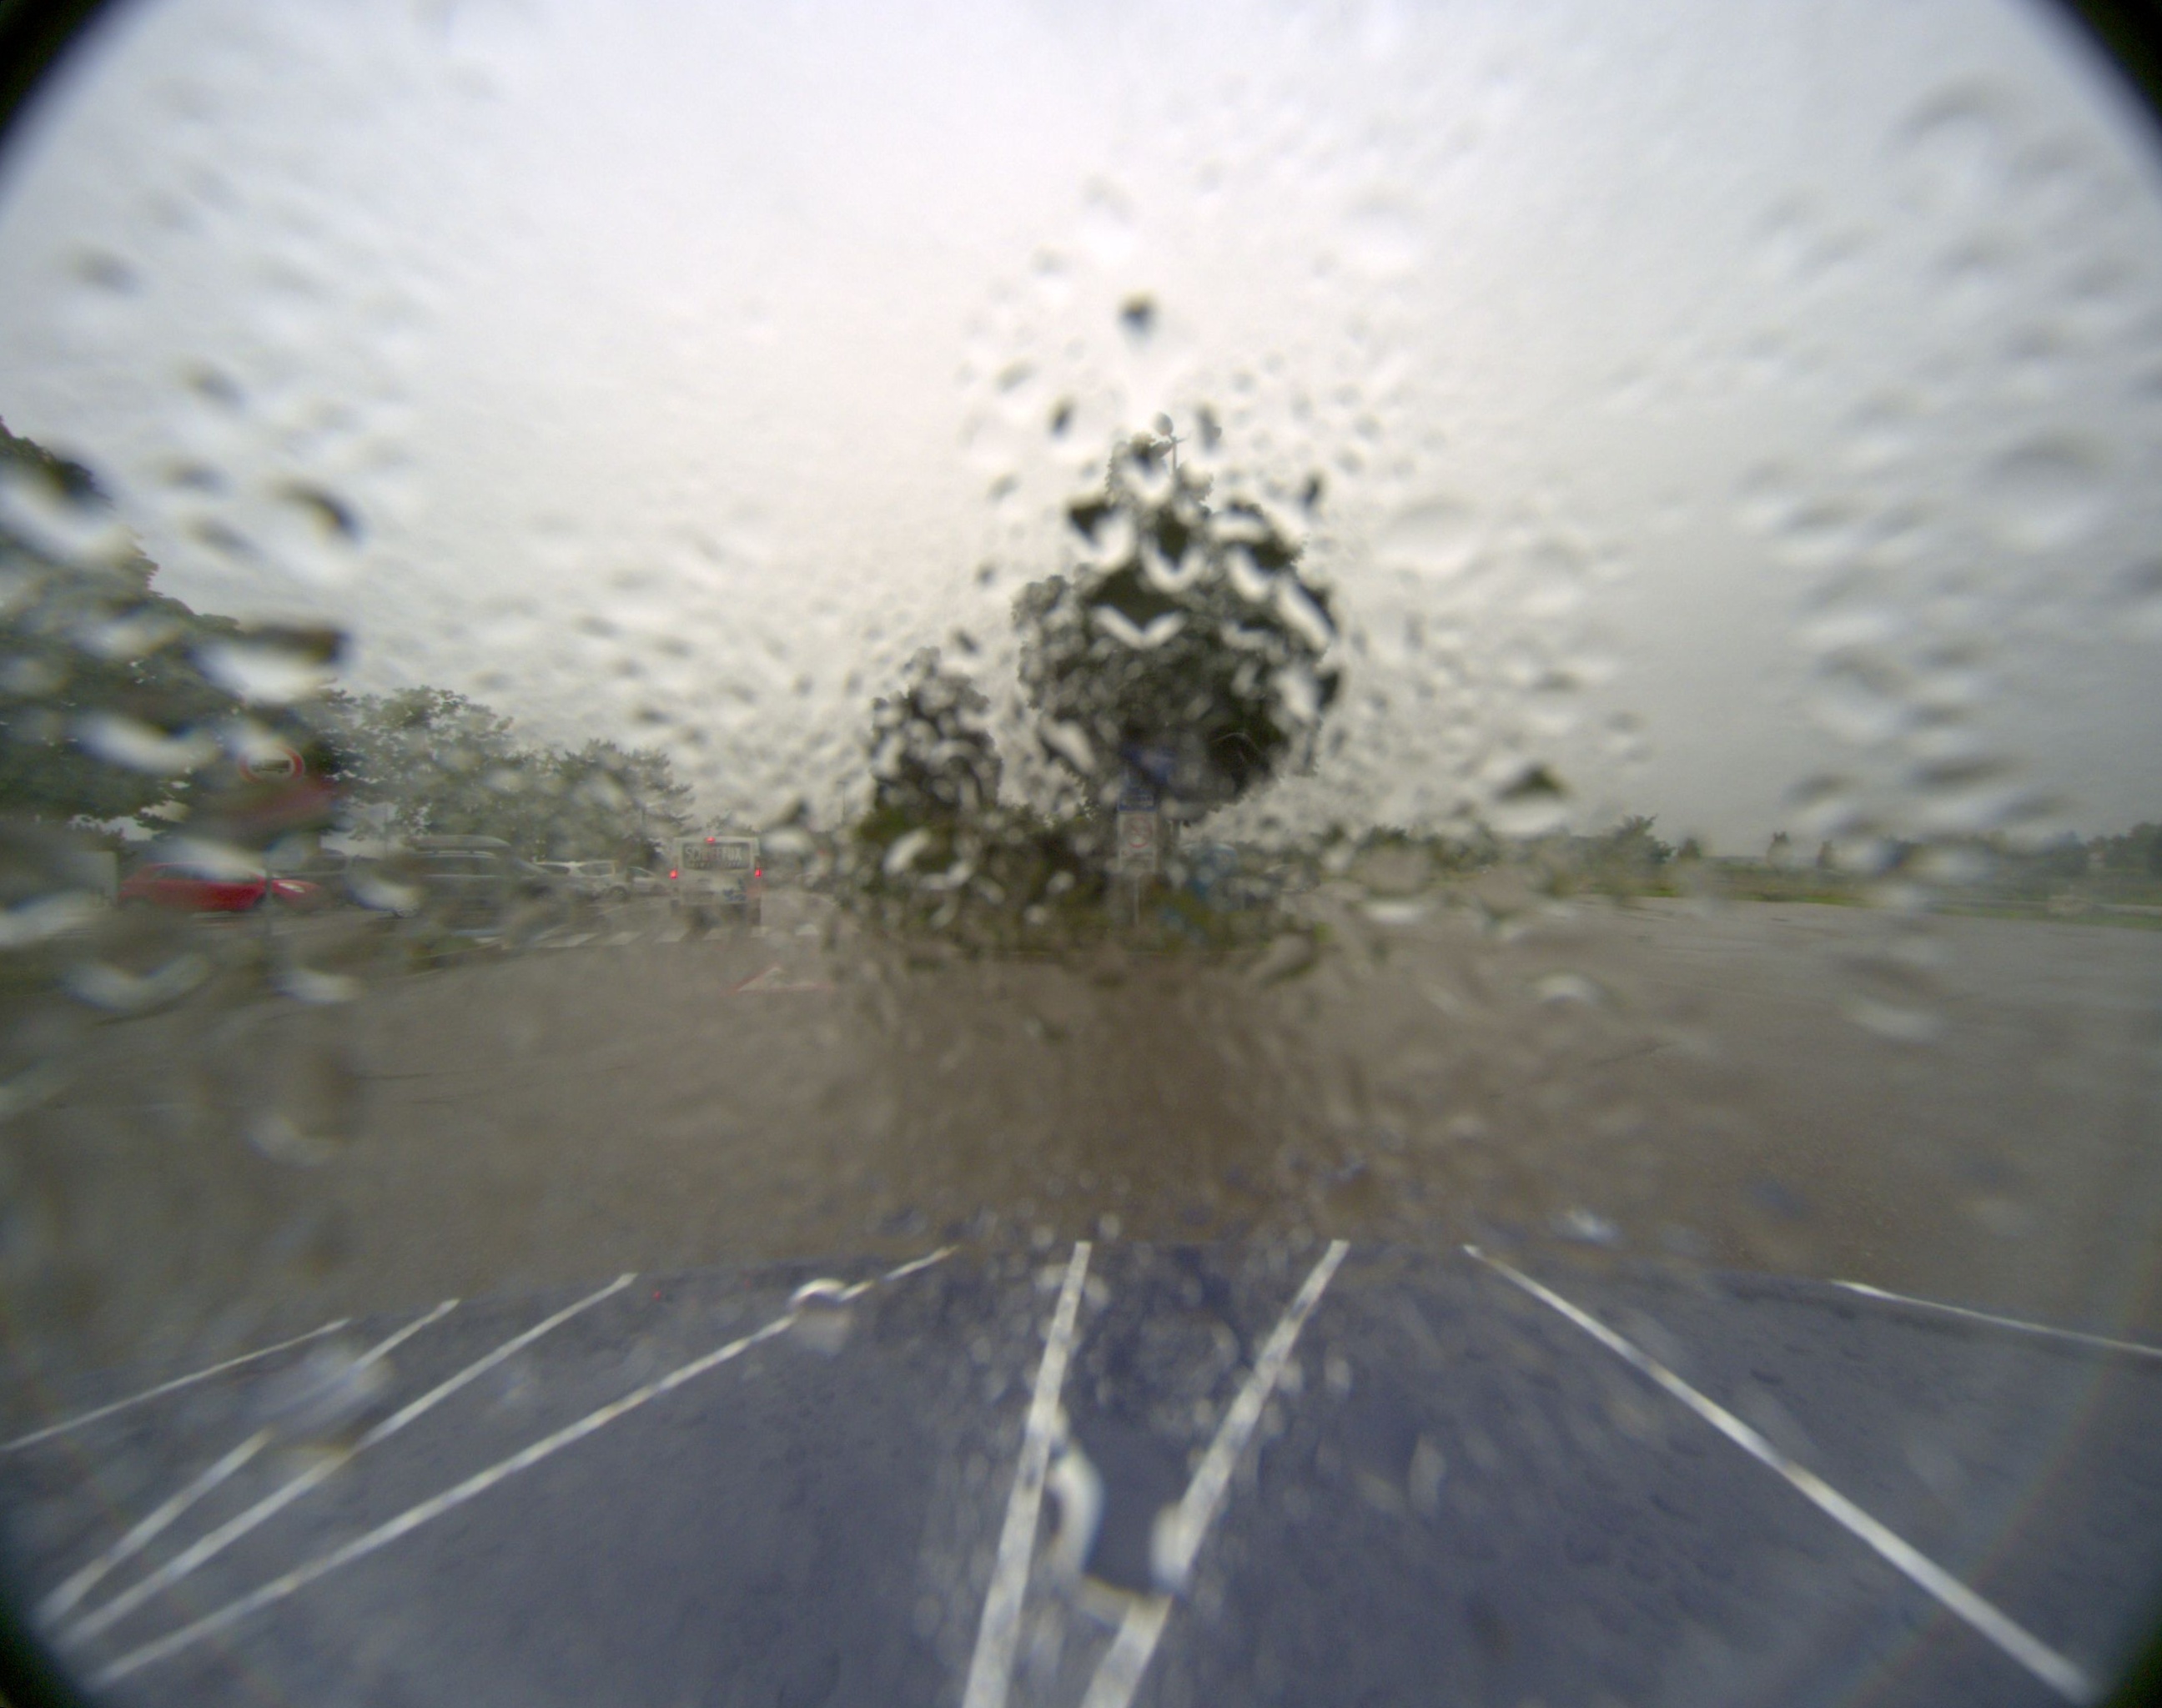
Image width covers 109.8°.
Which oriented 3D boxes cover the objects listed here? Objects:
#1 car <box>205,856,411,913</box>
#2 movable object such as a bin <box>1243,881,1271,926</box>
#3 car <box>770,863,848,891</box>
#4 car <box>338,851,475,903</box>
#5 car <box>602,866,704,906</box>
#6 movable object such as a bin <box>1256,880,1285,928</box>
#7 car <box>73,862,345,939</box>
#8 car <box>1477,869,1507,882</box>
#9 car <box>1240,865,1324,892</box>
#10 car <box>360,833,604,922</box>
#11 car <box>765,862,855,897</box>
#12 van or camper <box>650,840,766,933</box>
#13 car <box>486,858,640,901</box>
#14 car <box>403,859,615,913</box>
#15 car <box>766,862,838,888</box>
[{"bbox_3d":[-25.474,0.970,25.291,4.407,1.768,1.921,1,1,-25],"label":"car"},{"bbox_3d":[3.707,1.033,16.056,0.450,0.911,0.489,1,0,-1],"label":"movable object such as a bin"},{"bbox_3d":[-15.319,1.257,42.807,4.099,1.488,1.762,1,0,-22],"label":"car"},{"bbox_3d":[-27.220,0.890,30.838,3.791,2.002,1.783,0,0,-26],"label":"car"},{"bbox_3d":[-24.029,1.769,42.889,4.774,2.069,1.996,1,1,-22],"label":"car"},{"bbox_3d":[3.873,1.018,15.526,0.450,0.933,0.489,1,0,-1],"label":"movable object such as a bin"},{"bbox_3d":[-23.156,1.175,20.465,4.407,1.874,1.921,1,1,-25],"label":"car"},{"bbox_3d":[50.759,2.632,93.859,1.586,1.444,3.755,1,-1,-2],"label":"car"},{"bbox_3d":[11.048,1.339,41.896,4.079,1.425,1.778,1,0,-10],"label":"car"},{"bbox_3d":[-15.825,0.592,20.450,4.774,2.176,1.996,1,1,-22],"label":"car"},{"bbox_3d":[-13.465,1.248,37.742,4.099,1.619,1.783,1,1,-22],"label":"car"},{"bbox_3d":[-9.068,0.645,18.497,2.198,1.934,5.185,0,1,-27],"label":"van or camper"},{"bbox_3d":[-20.486,0.992,30.327,4.774,1.578,1.996,1,0,-22],"label":"car"},{"bbox_3d":[-16.996,0.919,22.891,4.774,1.463,1.882,1,0,-22],"label":"car"},{"bbox_3d":[-17.376,1.297,47.338,4.099,1.488,1.762,1,0,-22],"label":"car"}]
